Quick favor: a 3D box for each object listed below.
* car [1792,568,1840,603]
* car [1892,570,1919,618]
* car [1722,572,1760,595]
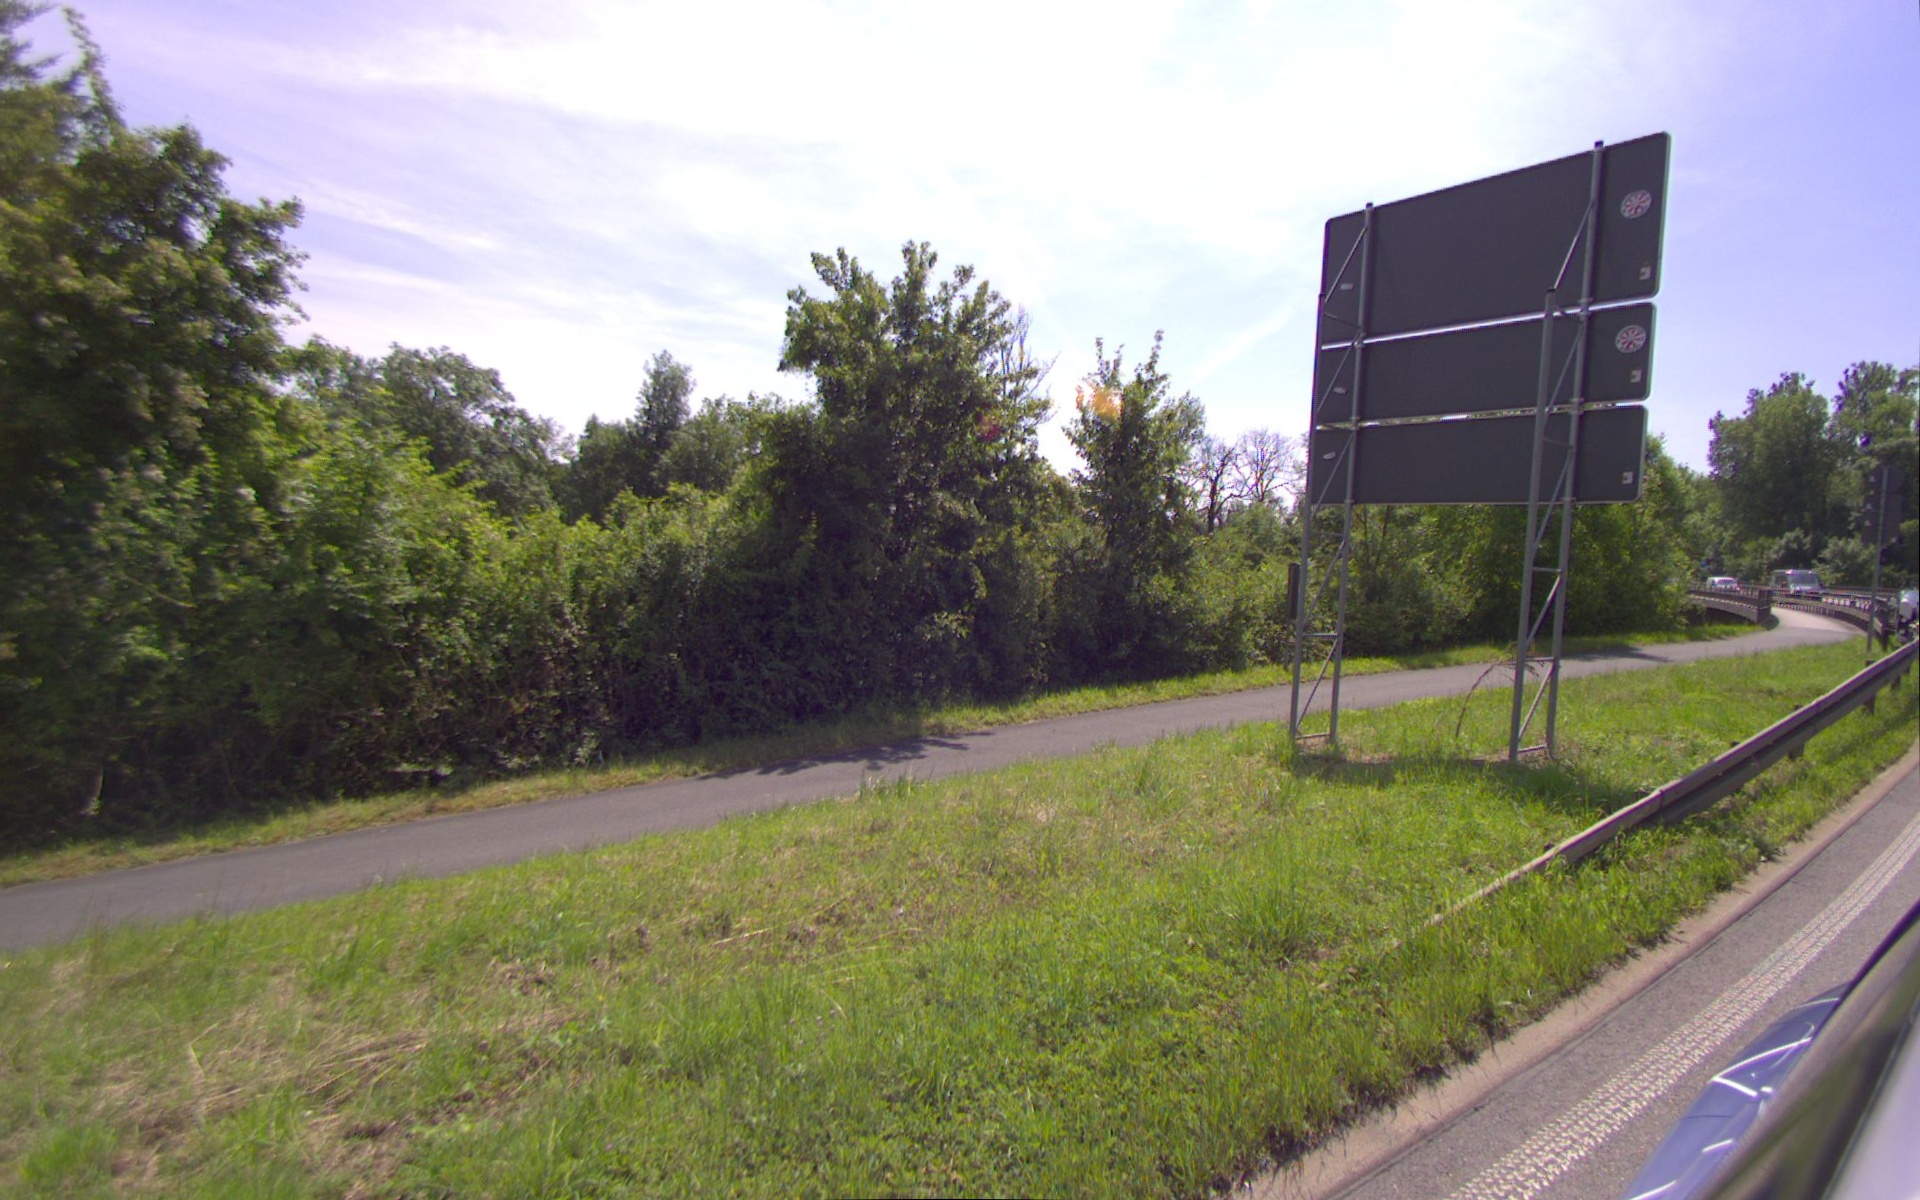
[{"bbox_3d":[63.188,-1.107,74.780,1.985,2.516,4.805,0,2,32],"label":"car"},{"bbox_3d":[42.965,-0.291,44.799,1.987,2.038,3.951,0,2,35],"label":"car"},{"bbox_3d":[72.892,-1.533,94.511,1.981,2.038,4.670,0,2,27],"label":"car"}]
